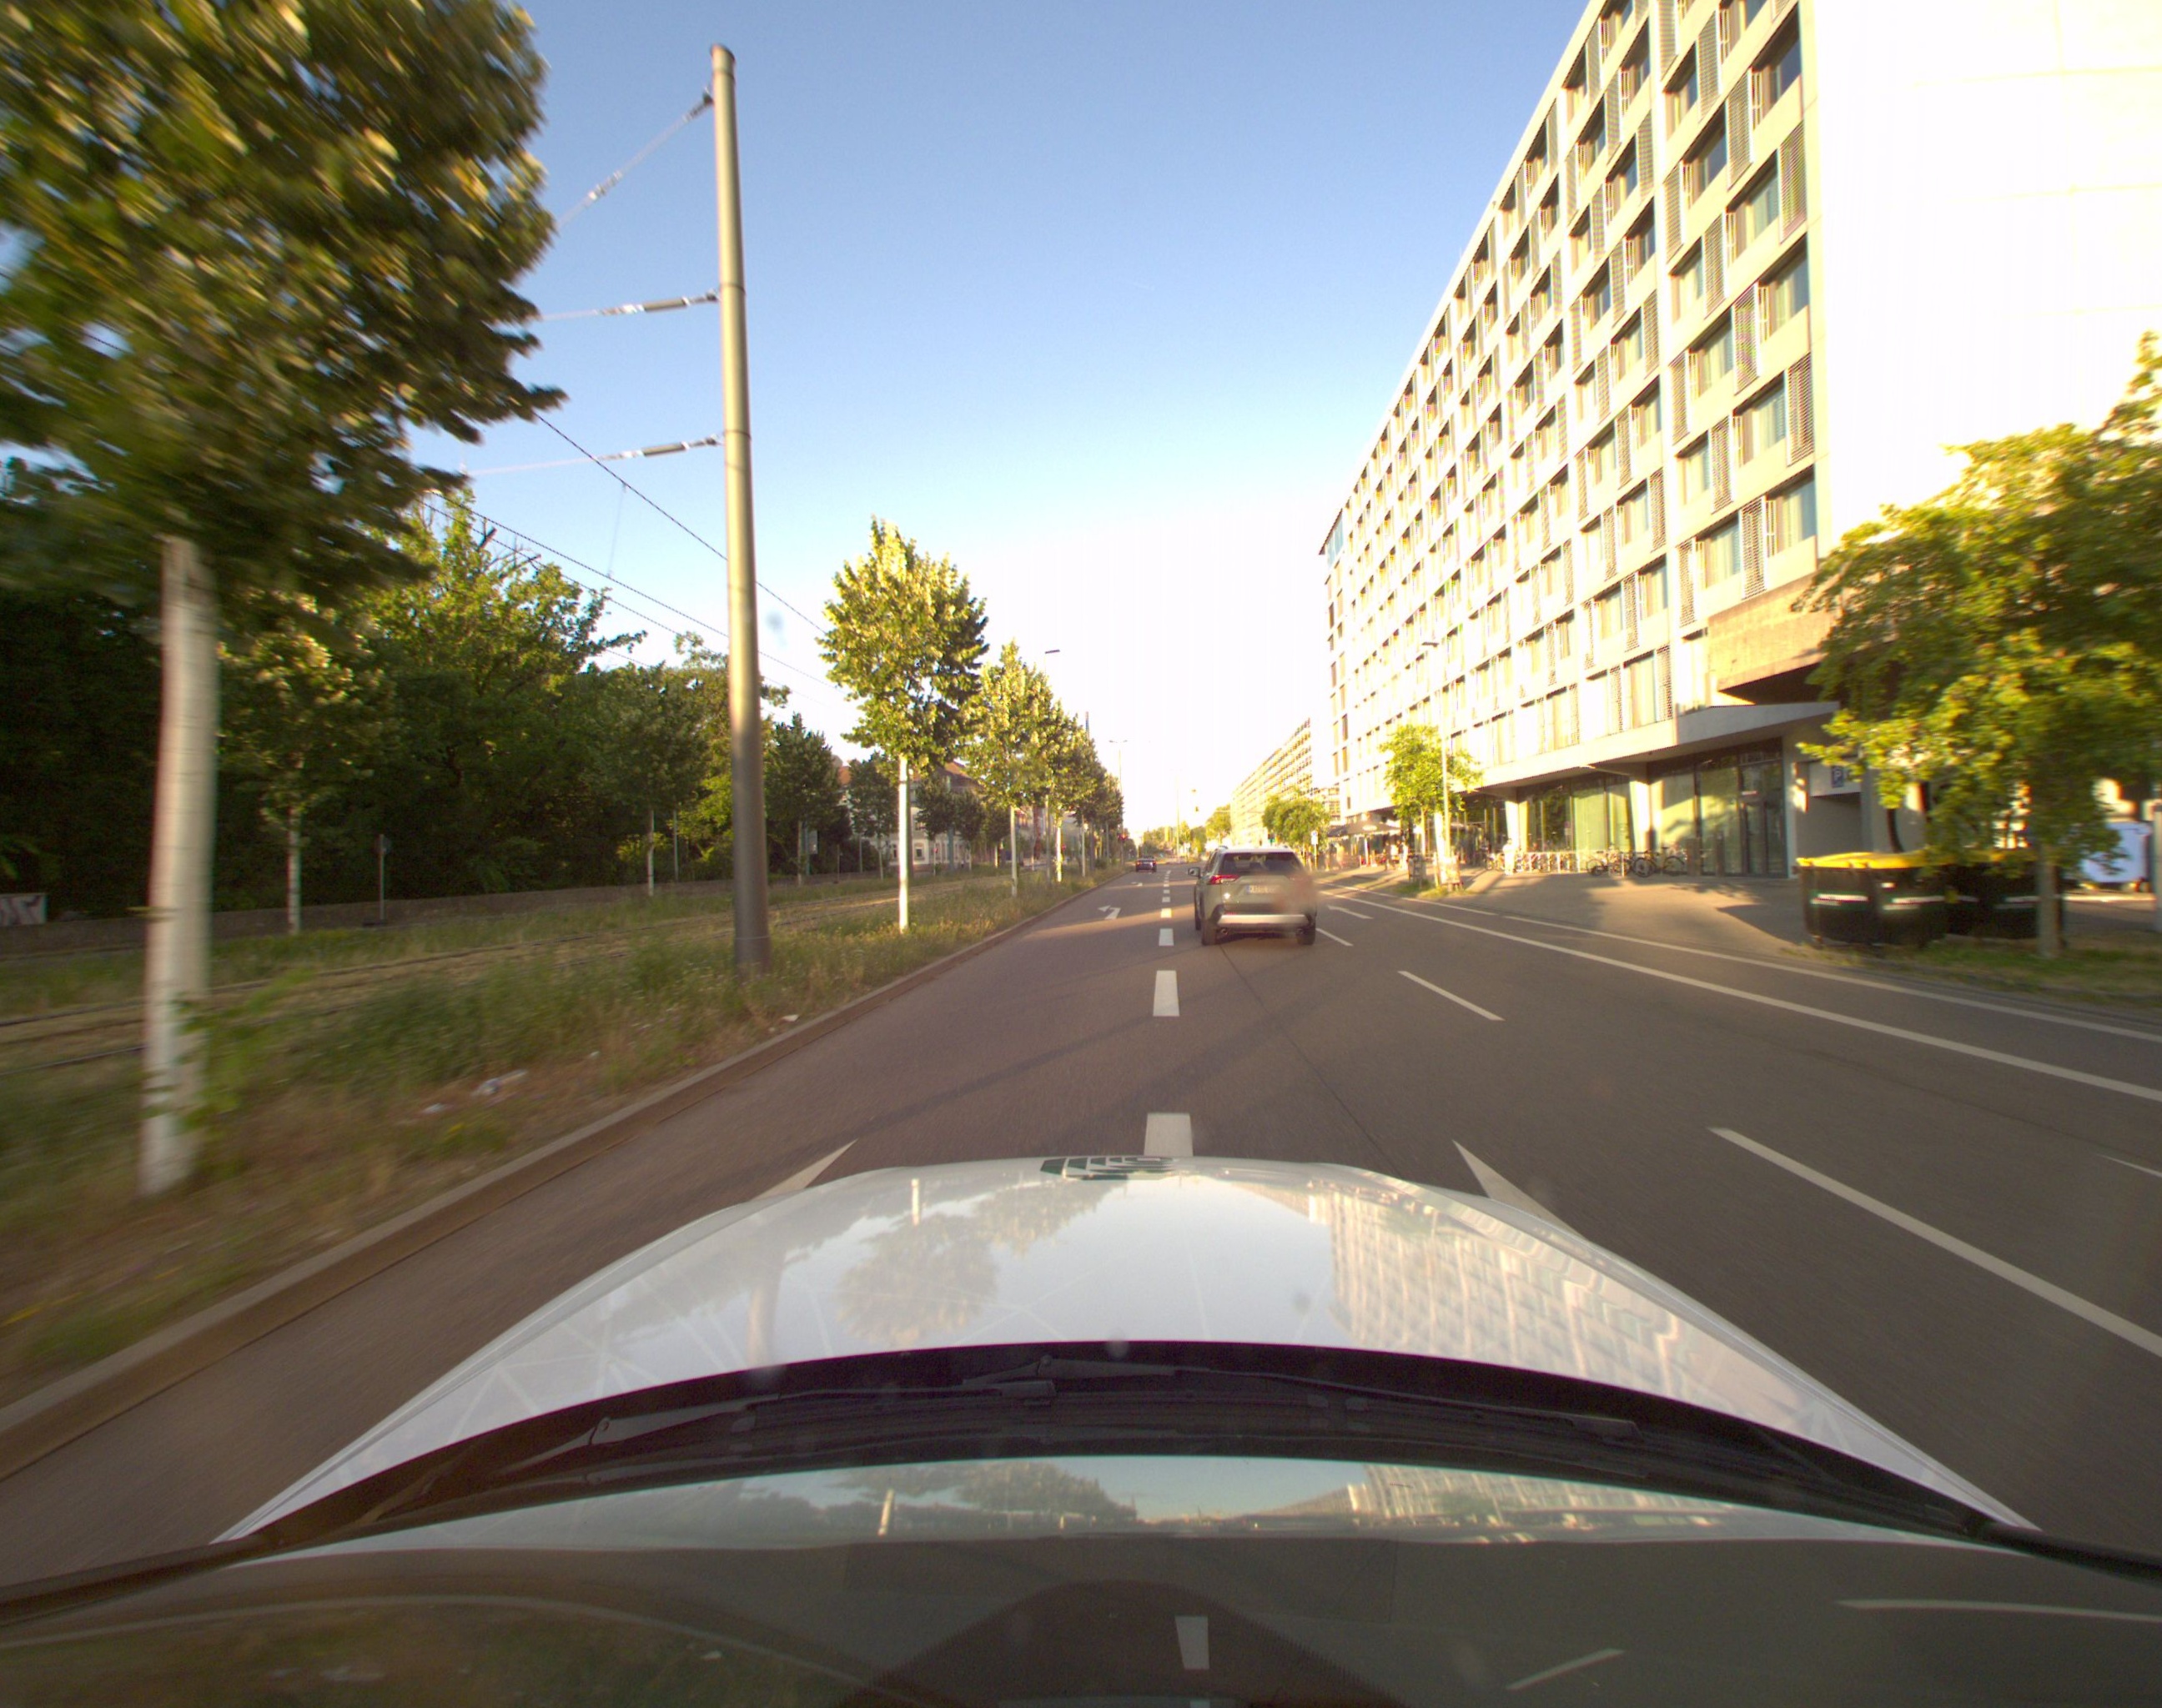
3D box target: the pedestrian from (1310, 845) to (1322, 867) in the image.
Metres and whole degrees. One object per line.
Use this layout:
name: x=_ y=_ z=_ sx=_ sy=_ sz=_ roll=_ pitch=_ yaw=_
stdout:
pedestrian: x=18.769 y=0.134 z=65.141 sx=0.682 sy=1.735 sz=0.762 roll=-4 pitch=0 yaw=5

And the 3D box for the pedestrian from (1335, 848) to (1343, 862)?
pedestrian: x=26.240 y=0.090 z=82.739 sx=0.607 sy=1.319 sz=0.624 roll=-5 pitch=-1 yaw=24

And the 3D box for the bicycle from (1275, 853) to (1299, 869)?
bicycle: x=16.868 y=0.556 z=66.795 sx=1.787 sy=1.193 sz=0.568 roll=-4 pitch=0 yaw=0

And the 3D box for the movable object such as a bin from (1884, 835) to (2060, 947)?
movable object such as a bin: x=11.876 y=0.471 z=10.915 sx=1.010 sy=1.347 sz=1.161 roll=-4 pitch=0 yaw=1

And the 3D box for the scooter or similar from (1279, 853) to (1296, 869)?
scooter or similar: x=16.782 y=0.535 z=66.250 sx=1.205 sy=1.201 sz=0.480 roll=-4 pitch=0 yaw=0

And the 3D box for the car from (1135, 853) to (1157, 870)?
car: x=5.400 y=0.592 z=67.363 sx=1.666 sy=1.352 sz=4.007 roll=-1 pitch=0 yaw=6

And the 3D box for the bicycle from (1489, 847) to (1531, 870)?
bicycle: x=20.768 y=0.221 z=39.439 sx=1.693 sy=0.986 sz=0.551 roll=-4 pitch=0 yaw=2

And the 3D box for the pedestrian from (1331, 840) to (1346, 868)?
pedestrian: x=18.287 y=-0.002 z=57.838 sx=0.818 sy=1.888 sz=0.869 roll=-4 pitch=-2 yaw=14

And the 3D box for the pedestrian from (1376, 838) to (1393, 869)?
pedestrian: x=18.755 y=-0.055 z=50.363 sx=0.738 sy=1.849 sz=0.944 roll=-5 pitch=-1 yaw=15

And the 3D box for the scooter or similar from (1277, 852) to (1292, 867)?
scooter or similar: x=17.286 y=0.477 z=69.072 sx=1.047 sy=1.223 sz=0.599 roll=-4 pitch=0 yaw=1

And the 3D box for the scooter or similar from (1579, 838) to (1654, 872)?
scooter or similar: x=20.554 y=0.039 z=31.295 sx=2.361 sy=1.183 sz=0.621 roll=-3 pitch=0 yaw=4

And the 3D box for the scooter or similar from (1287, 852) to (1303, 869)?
scooter or similar: x=16.566 y=0.484 z=63.028 sx=1.118 sy=1.213 sz=0.534 roll=-4 pitch=-2 yaw=21

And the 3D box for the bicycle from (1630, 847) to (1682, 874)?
bicycle: x=19.855 y=0.224 z=28.123 sx=1.415 sy=0.891 sz=0.458 roll=-2 pitch=0 yaw=4

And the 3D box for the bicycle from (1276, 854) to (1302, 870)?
bicycle: x=16.614 y=0.621 z=64.987 sx=1.838 sy=1.182 sz=0.609 roll=-4 pitch=0 yaw=5

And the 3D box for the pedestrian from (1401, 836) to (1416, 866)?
pedestrian: x=20.214 y=-0.200 z=50.224 sx=0.614 sy=1.811 sz=0.780 roll=-5 pitch=-1 yaw=15

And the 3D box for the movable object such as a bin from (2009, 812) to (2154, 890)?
movable object such as a bin: x=18.754 y=-0.060 z=15.315 sx=1.099 sy=1.329 sz=1.285 roll=-4 pitch=0 yaw=5

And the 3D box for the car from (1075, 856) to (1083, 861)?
car: x=-0.606 y=1.220 z=217.468 sx=1.649 sy=1.431 sz=3.903 roll=0 pitch=0 yaw=8

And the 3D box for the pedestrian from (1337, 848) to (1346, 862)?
pedestrian: x=26.114 y=0.078 z=81.625 sx=0.739 sy=1.319 sz=0.718 roll=-5 pitch=-1 yaw=18

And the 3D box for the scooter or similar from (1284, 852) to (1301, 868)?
scooter or similar: x=16.592 y=0.485 z=63.810 sx=1.149 sy=1.191 sz=0.511 roll=-4 pitch=-2 yaw=7

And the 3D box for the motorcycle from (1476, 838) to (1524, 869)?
motorcycle: x=21.092 y=-0.034 z=41.040 sx=2.111 sy=1.386 sz=0.670 roll=-3 pitch=0 yaw=-9

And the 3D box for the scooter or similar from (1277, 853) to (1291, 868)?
scooter or similar: x=16.915 y=0.544 z=67.921 sx=1.053 sy=1.223 sz=0.552 roll=-4 pitch=-1 yaw=15

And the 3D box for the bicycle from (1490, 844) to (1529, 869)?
bicycle: x=21.128 y=0.118 z=40.171 sx=1.605 sy=1.154 sz=0.610 roll=-4 pitch=0 yaw=-7

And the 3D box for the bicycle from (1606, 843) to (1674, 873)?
bicycle: x=20.359 y=0.150 z=29.668 sx=2.009 sy=0.957 sz=0.620 roll=-3 pitch=0 yaw=-1

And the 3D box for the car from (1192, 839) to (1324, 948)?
car: x=3.015 y=0.598 z=14.705 sx=1.825 sy=1.672 sz=4.289 roll=-1 pitch=0 yaw=5

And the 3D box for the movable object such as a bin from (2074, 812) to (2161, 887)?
movable object such as a bin: x=19.863 y=-0.104 z=15.229 sx=1.069 sy=1.329 sz=1.204 roll=-3 pitch=0 yaw=5

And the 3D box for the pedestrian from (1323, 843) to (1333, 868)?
pedestrian: x=17.686 y=0.099 z=58.365 sx=0.572 sy=1.786 sz=0.832 roll=-4 pitch=-2 yaw=14

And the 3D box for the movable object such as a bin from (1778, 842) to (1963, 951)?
movable object such as a bin: x=10.521 y=0.535 z=10.929 sx=1.081 sy=1.301 sz=1.360 roll=-4 pitch=0 yaw=-1

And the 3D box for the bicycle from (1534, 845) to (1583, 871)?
bicycle: x=20.330 y=0.171 z=34.662 sx=1.693 sy=0.986 sz=0.551 roll=-4 pitch=0 yaw=2

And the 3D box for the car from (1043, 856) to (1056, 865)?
car: x=-6.267 y=1.282 z=163.917 sx=1.983 sy=1.580 sz=4.132 roll=-3 pitch=0 yaw=7

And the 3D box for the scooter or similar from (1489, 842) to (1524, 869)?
scooter or similar: x=20.286 y=0.065 z=38.840 sx=1.263 sy=1.233 sz=0.609 roll=-4 pitch=0 yaw=1

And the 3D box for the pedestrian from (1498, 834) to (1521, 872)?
pedestrian: x=18.627 y=-0.053 z=35.392 sx=0.574 sy=1.619 sz=0.643 roll=-4 pitch=0 yaw=2

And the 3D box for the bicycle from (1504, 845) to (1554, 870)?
bicycle: x=20.529 y=0.167 z=37.350 sx=1.877 sy=1.010 sz=0.566 roll=-4 pitch=-1 yaw=3

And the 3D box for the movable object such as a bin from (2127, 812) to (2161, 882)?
movable object such as a bin: x=20.955 y=-0.147 z=15.255 sx=1.028 sy=1.329 sz=1.285 roll=-3 pitch=0 yaw=5

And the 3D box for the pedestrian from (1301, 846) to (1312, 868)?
pedestrian: x=18.096 y=0.262 z=65.460 sx=0.650 sy=1.702 sz=0.690 roll=-4 pitch=0 yaw=5

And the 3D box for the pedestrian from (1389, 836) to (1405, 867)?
pedestrian: x=19.452 y=-0.144 z=50.154 sx=0.751 sy=1.824 sz=0.944 roll=-4 pitch=-1 yaw=15
